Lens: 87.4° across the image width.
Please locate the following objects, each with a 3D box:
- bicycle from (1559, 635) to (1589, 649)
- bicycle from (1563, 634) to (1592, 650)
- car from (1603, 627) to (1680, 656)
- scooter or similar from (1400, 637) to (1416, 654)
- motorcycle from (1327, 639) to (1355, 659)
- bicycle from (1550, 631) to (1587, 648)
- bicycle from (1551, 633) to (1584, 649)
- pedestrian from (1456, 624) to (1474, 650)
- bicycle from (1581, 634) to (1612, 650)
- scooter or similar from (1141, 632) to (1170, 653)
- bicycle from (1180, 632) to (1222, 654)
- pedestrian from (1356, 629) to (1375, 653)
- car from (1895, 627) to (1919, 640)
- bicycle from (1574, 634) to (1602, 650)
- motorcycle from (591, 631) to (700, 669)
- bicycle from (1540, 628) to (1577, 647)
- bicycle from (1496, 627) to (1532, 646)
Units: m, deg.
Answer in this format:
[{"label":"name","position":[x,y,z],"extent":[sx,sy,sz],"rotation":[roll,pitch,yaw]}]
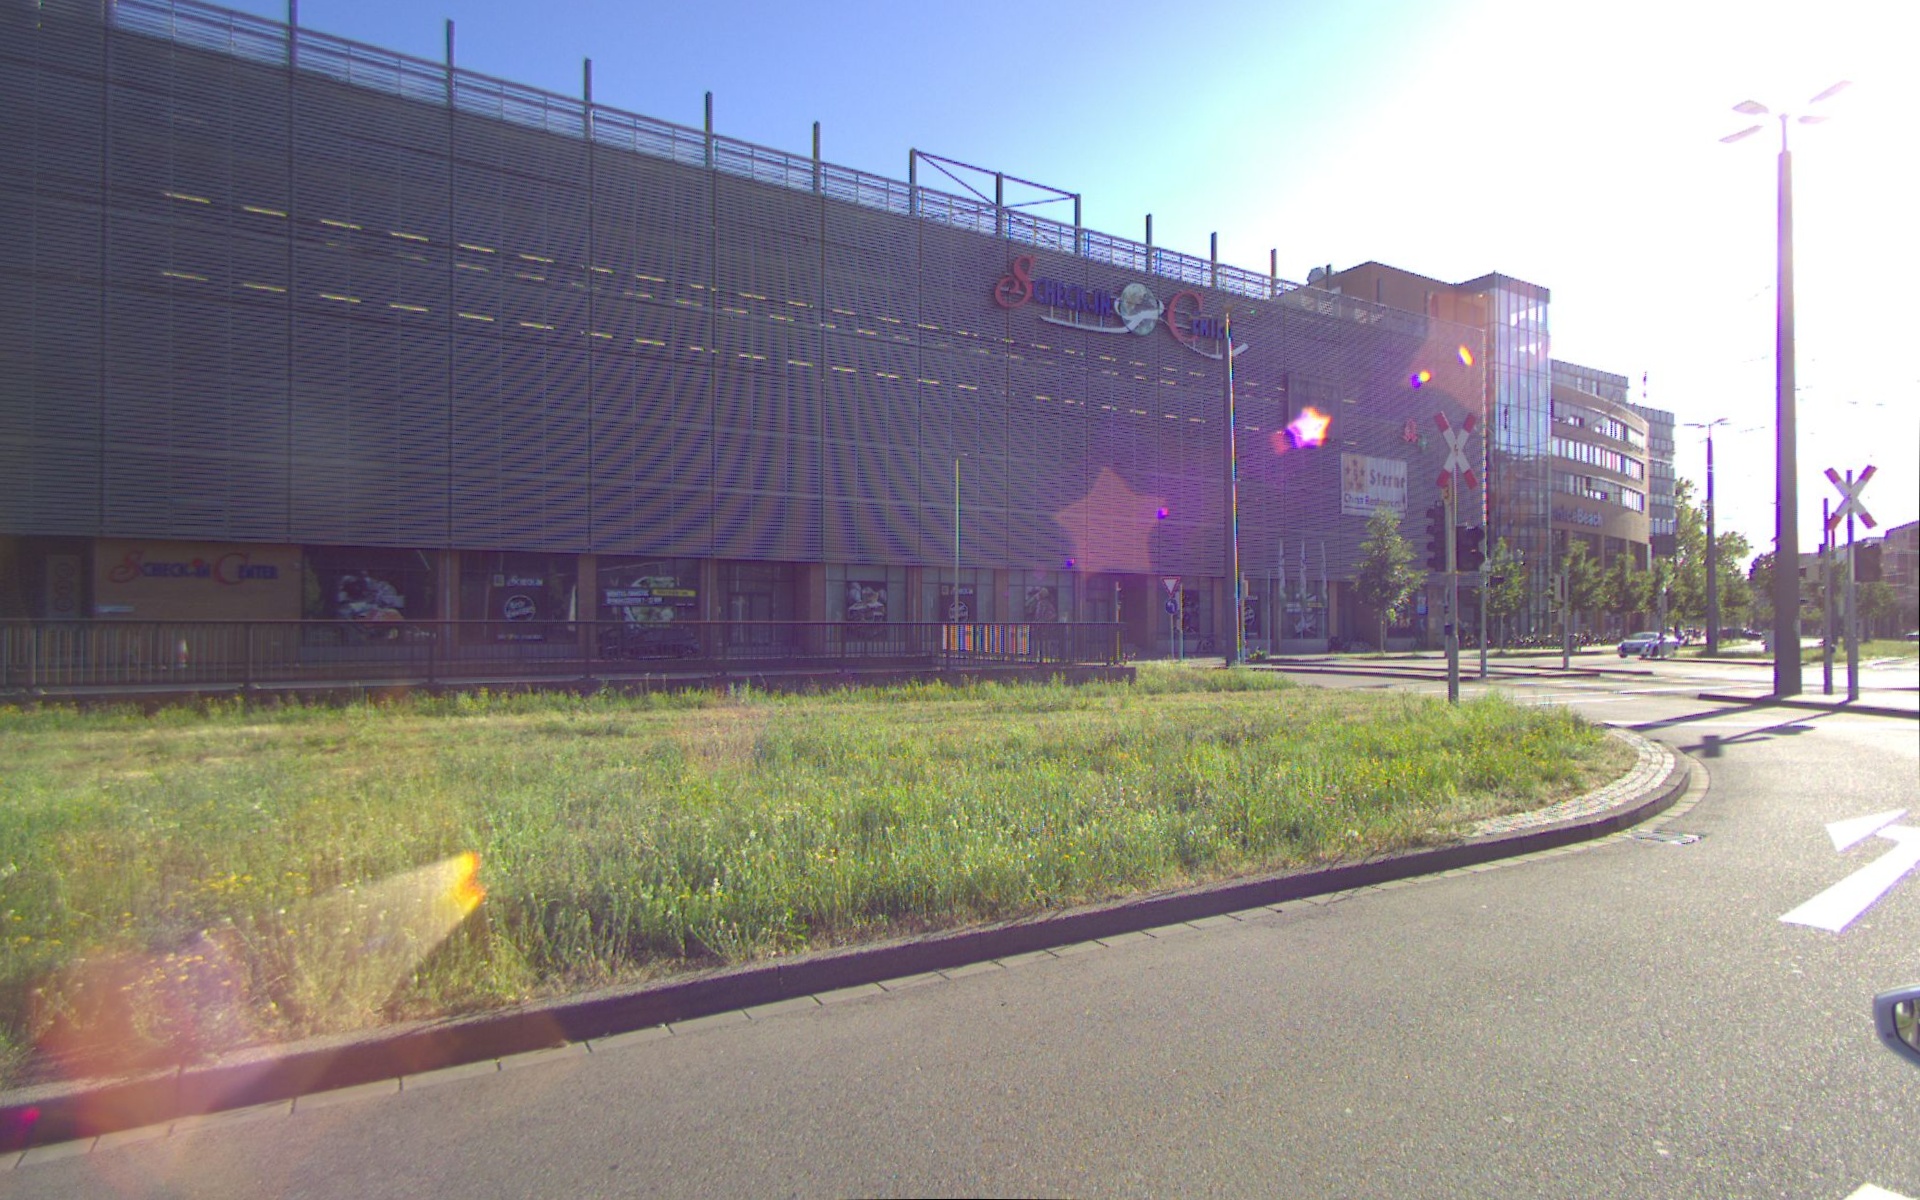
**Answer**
[{"label":"bicycle","position":[55.224,3.796,90.346],"extent":[0.734,1.252,2.410],"rotation":[1,-2,-21]},{"label":"bicycle","position":[55.875,3.813,90.901],"extent":[0.707,1.452,2.242],"rotation":[1,-2,-21]},{"label":"car","position":[38.556,2.318,56.798],"extent":[4.480,1.566,1.982],"rotation":[1,-1,-33]},{"label":"scooter or similar","position":[31.238,3.169,69.979],"extent":[1.138,1.124,0.419],"rotation":[2,-3,-30]},{"label":"motorcycle","position":[24.329,3.139,64.208],"extent":[1.872,1.255,0.672],"rotation":[2,-3,-31]},{"label":"bicycle","position":[50.348,3.274,83.130],"extent":[0.891,1.452,2.558],"rotation":[1,-2,-21]},{"label":"bicycle","position":[54.090,3.653,89.486],"extent":[0.760,1.452,2.603],"rotation":[1,-2,-21]},{"label":"pedestrian","position":[36.580,2.659,72.725],"extent":[0.894,1.848,0.823],"rotation":[2,-3,-29]},{"label":"bicycle","position":[58.613,3.865,92.510],"extent":[0.777,1.452,2.417],"rotation":[1,-2,-21]},{"label":"scooter or similar","position":[11.330,2.476,58.237],"extent":[1.555,1.222,0.790],"rotation":[2,-3,-30]},{"label":"bicycle","position":[13.808,2.446,57.573],"extent":[2.384,1.237,0.797],"rotation":[1,-1,-27]},{"label":"pedestrian","position":[28.058,2.838,69.506],"extent":[0.819,1.586,0.983],"rotation":[2,-3,-30]},{"label":"car","position":[128.096,4.444,134.196],"extent":[4.337,1.661,1.995],"rotation":[0,-2,33]},{"label":"bicycle","position":[57.553,3.880,92.028],"extent":[0.747,1.452,2.135],"rotation":[1,-2,-21]},{"label":"motorcycle","position":[-12.816,1.999,40.942],"extent":[3.953,1.472,1.984],"rotation":[1,-1,-30]},{"label":"bicycle","position":[48.634,3.051,81.643],"extent":[0.891,1.452,2.558],"rotation":[1,-2,-21]},{"label":"bicycle","position":[43.454,2.865,78.836],"extent":[1.060,1.452,2.366],"rotation":[1,-2,-21]}]
